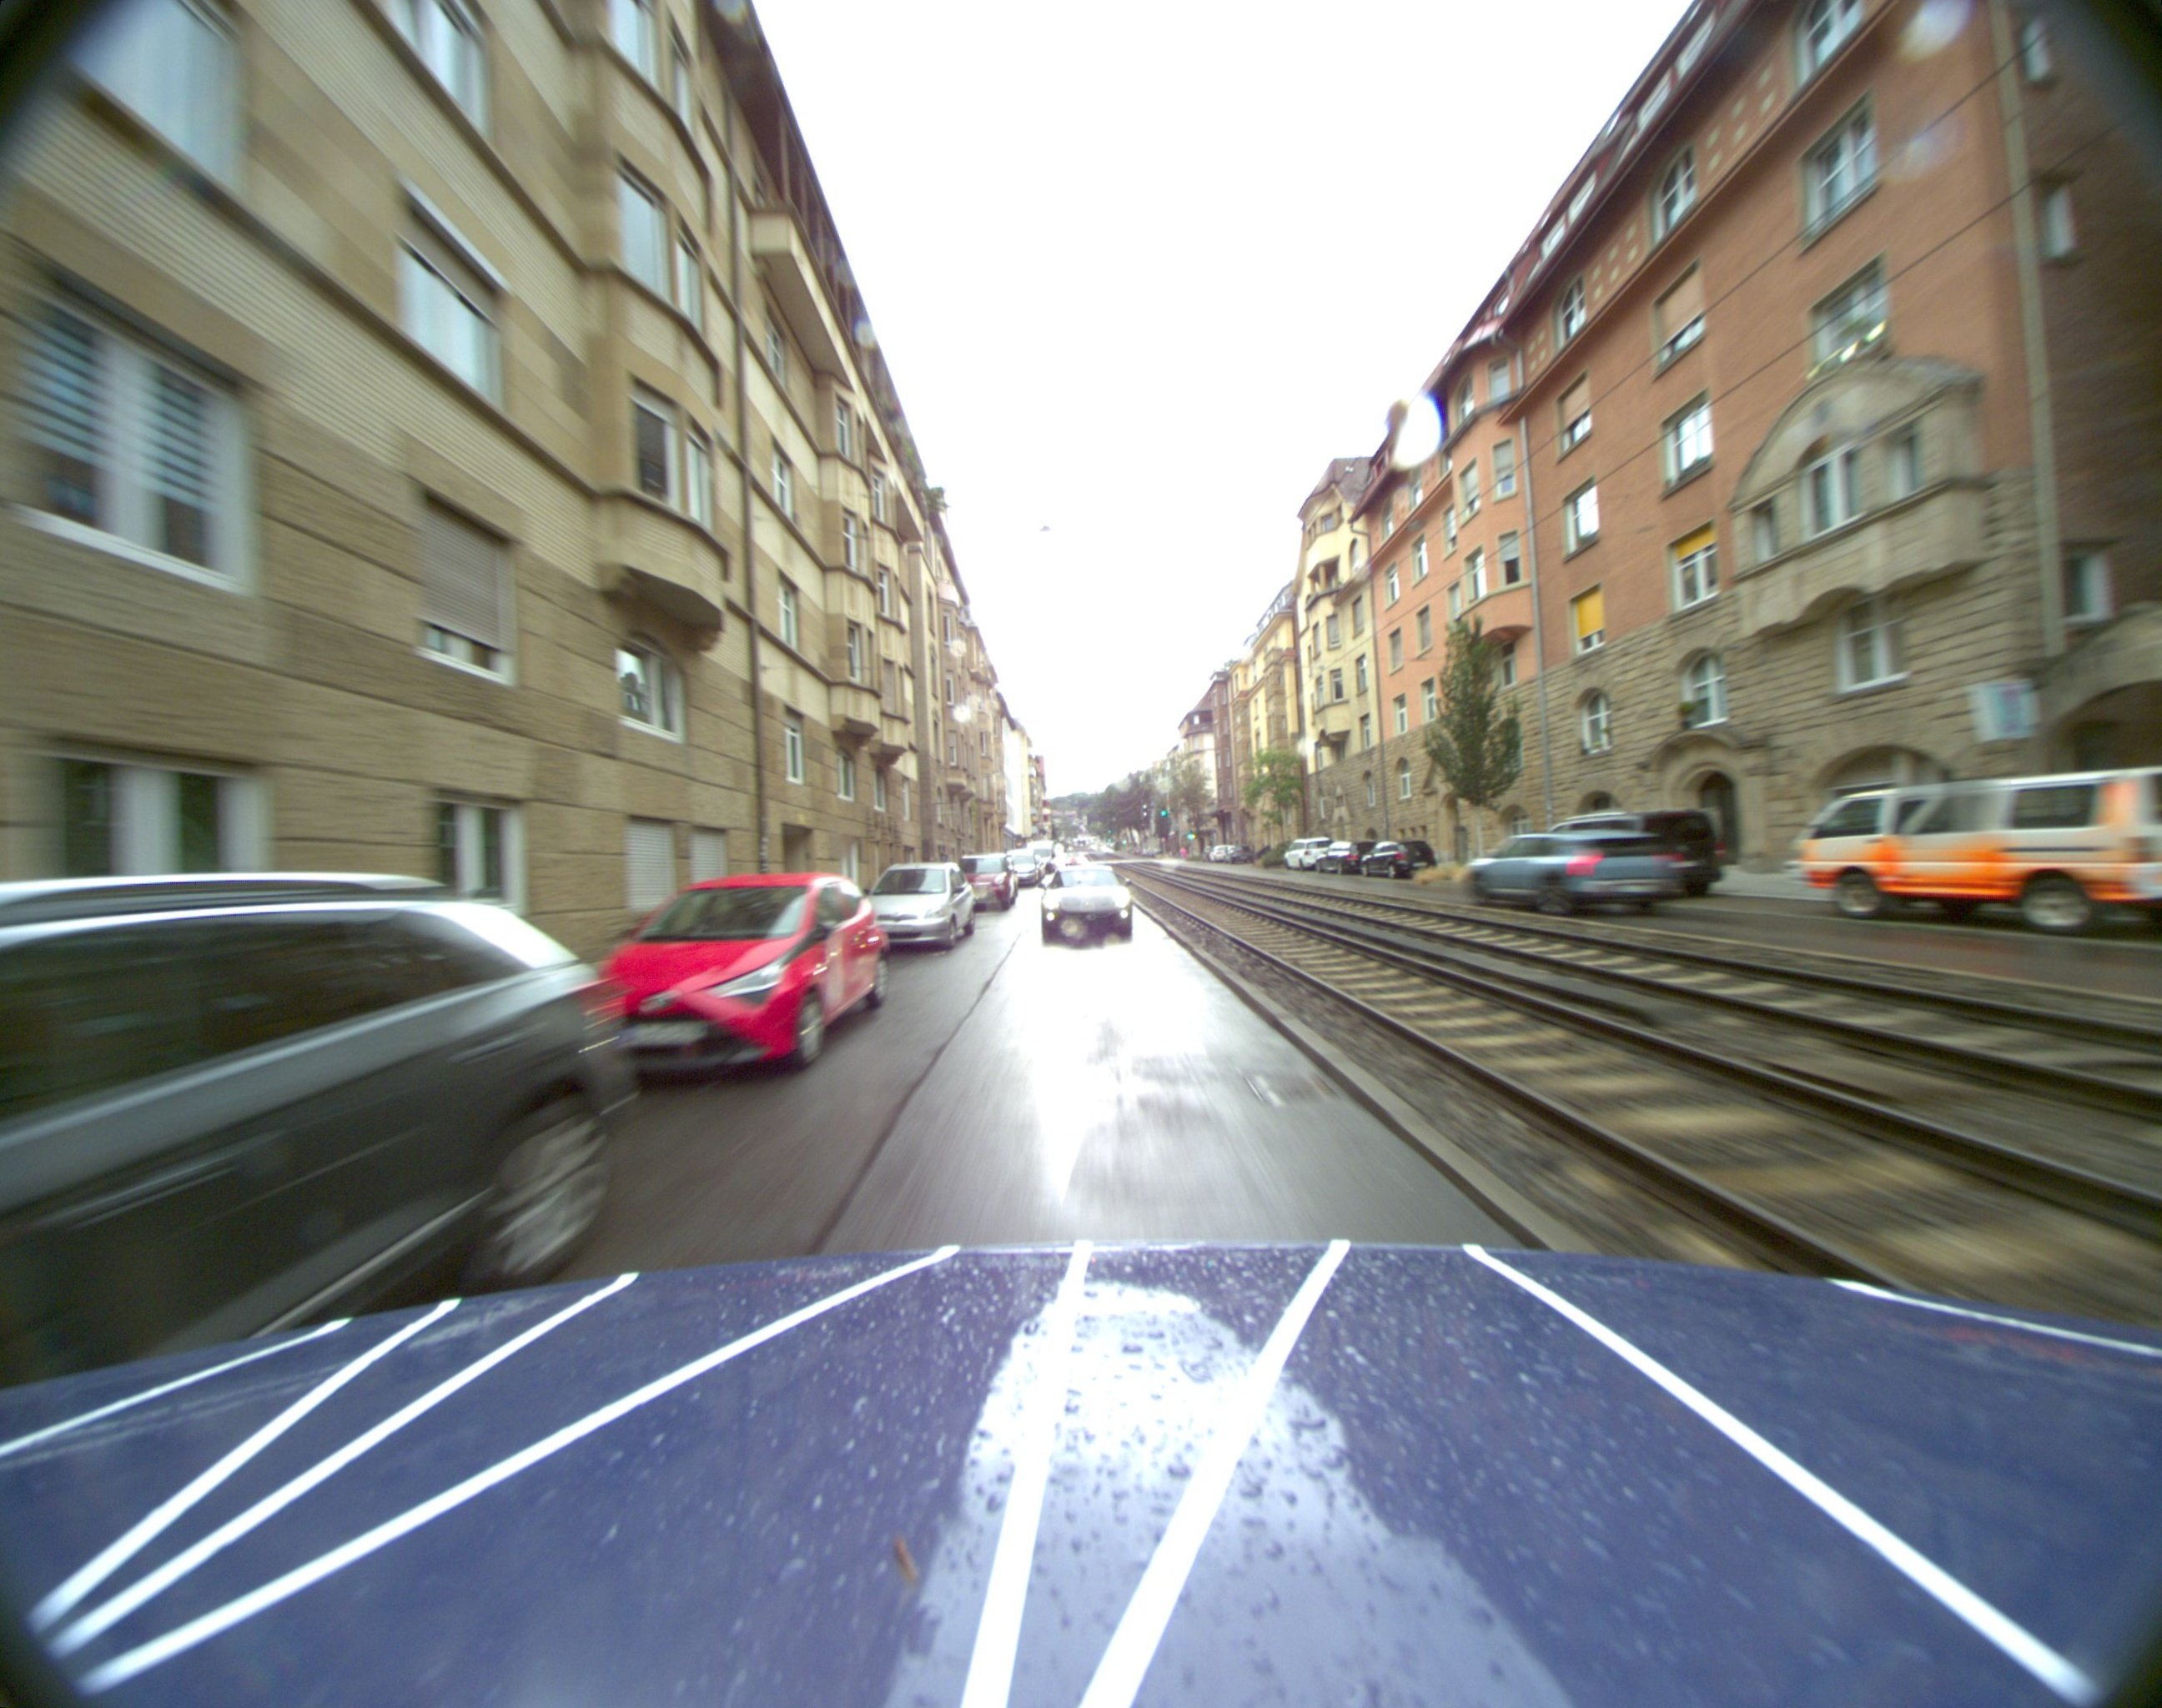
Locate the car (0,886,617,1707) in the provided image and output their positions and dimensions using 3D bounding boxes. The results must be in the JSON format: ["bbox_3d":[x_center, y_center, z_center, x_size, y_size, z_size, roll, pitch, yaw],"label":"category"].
[{"bbox_3d":[-2.900,0.974,1.146,1.872,1.540,3.990,-3,1,0],"label":"car"}]

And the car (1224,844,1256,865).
[{"bbox_3d":[12.348,0.009,59.132,1.717,1.474,3.712,-5,1,1],"label":"car"}]

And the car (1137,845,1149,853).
[{"bbox_3d":[11.062,-0.881,135.159,1.794,1.339,4.257,-1,1,0],"label":"car"}]

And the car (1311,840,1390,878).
[{"bbox_3d":[12.237,0.175,34.809,1.760,1.482,4.596,-4,1,-2],"label":"car"}]

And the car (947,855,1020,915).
[{"bbox_3d":[-2.888,0.864,23.339,1.774,1.592,3.999,-1,1,-1],"label":"car"}]

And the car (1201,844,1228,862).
[{"bbox_3d":[12.251,-0.092,69.899,1.759,1.419,3.712,-5,1,1],"label":"car"}]

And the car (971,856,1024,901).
[{"bbox_3d":[-3.128,0.883,29.000,1.632,1.502,3.530,-3,1,-1],"label":"car"}]

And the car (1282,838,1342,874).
[{"bbox_3d":[12.223,0.059,40.472,1.760,1.663,4.259,-5,1,-1],"label":"car"}]

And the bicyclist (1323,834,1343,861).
[{"bbox_3d":[15.120,-0.379,45.562,0.894,1.592,0.774,-2,1,0],"label":"bicyclist"}]

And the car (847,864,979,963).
[{"bbox_3d":[-2.961,0.992,14.085,1.598,1.478,3.522,-2,1,0],"label":"car"}]

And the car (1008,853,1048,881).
[{"bbox_3d":[-2.966,0.704,43.536,1.931,1.380,3.981,-3,1,0],"label":"car"}]

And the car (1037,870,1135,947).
[{"bbox_3d":[0.104,1.012,15.733,1.737,1.262,4.257,0,0,0],"label":"car"}]

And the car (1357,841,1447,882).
[{"bbox_3d":[12.518,0.251,29.906,1.760,1.396,3.693,-5,1,-3],"label":"car"}]

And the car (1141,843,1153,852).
[{"bbox_3d":[12.751,-1.272,146.537,1.794,1.610,4.257,-2,1,0],"label":"car"}]

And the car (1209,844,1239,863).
[{"bbox_3d":[12.238,-0.084,65.192,1.759,1.443,4.043,-5,1,1],"label":"car"}]

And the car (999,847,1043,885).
[{"bbox_3d":[-2.959,0.555,38.264,1.811,1.758,3.961,-2,1,0],"label":"car"}]

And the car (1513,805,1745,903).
[{"bbox_3d":[12.505,-0.041,17.833,1.911,1.919,4.831,-2,1,0],"label":"car"}]

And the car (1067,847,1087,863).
[{"bbox_3d":[-0.376,0.107,75.219,1.794,1.459,4.257,-2,1,0],"label":"car"}]

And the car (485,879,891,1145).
[{"bbox_3d":[-2.928,1.061,6.602,1.710,1.444,3.531,-3,1,-2],"label":"car"}]

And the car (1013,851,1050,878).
[{"bbox_3d":[-3.078,0.624,48.017,1.935,1.516,4.058,-3,1,0],"label":"car"}]

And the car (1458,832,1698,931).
[{"bbox_3d":[9.454,0.433,14.937,1.926,1.608,4.127,-2,1,-1],"label":"car"}]

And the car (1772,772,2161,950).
[{"bbox_3d":[12.453,0.007,10.463,1.733,1.919,4.475,-2,1,-1],"label":"car"}]

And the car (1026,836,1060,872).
[{"bbox_3d":[-2.887,-0.043,59.241,1.991,2.520,6.154,-3,1,2],"label":"car"}]

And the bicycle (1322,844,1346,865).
[{"bbox_3d":[15.153,-0.003,45.540,0.694,1.215,2.052,-2,1,0],"label":"bicycle"}]
